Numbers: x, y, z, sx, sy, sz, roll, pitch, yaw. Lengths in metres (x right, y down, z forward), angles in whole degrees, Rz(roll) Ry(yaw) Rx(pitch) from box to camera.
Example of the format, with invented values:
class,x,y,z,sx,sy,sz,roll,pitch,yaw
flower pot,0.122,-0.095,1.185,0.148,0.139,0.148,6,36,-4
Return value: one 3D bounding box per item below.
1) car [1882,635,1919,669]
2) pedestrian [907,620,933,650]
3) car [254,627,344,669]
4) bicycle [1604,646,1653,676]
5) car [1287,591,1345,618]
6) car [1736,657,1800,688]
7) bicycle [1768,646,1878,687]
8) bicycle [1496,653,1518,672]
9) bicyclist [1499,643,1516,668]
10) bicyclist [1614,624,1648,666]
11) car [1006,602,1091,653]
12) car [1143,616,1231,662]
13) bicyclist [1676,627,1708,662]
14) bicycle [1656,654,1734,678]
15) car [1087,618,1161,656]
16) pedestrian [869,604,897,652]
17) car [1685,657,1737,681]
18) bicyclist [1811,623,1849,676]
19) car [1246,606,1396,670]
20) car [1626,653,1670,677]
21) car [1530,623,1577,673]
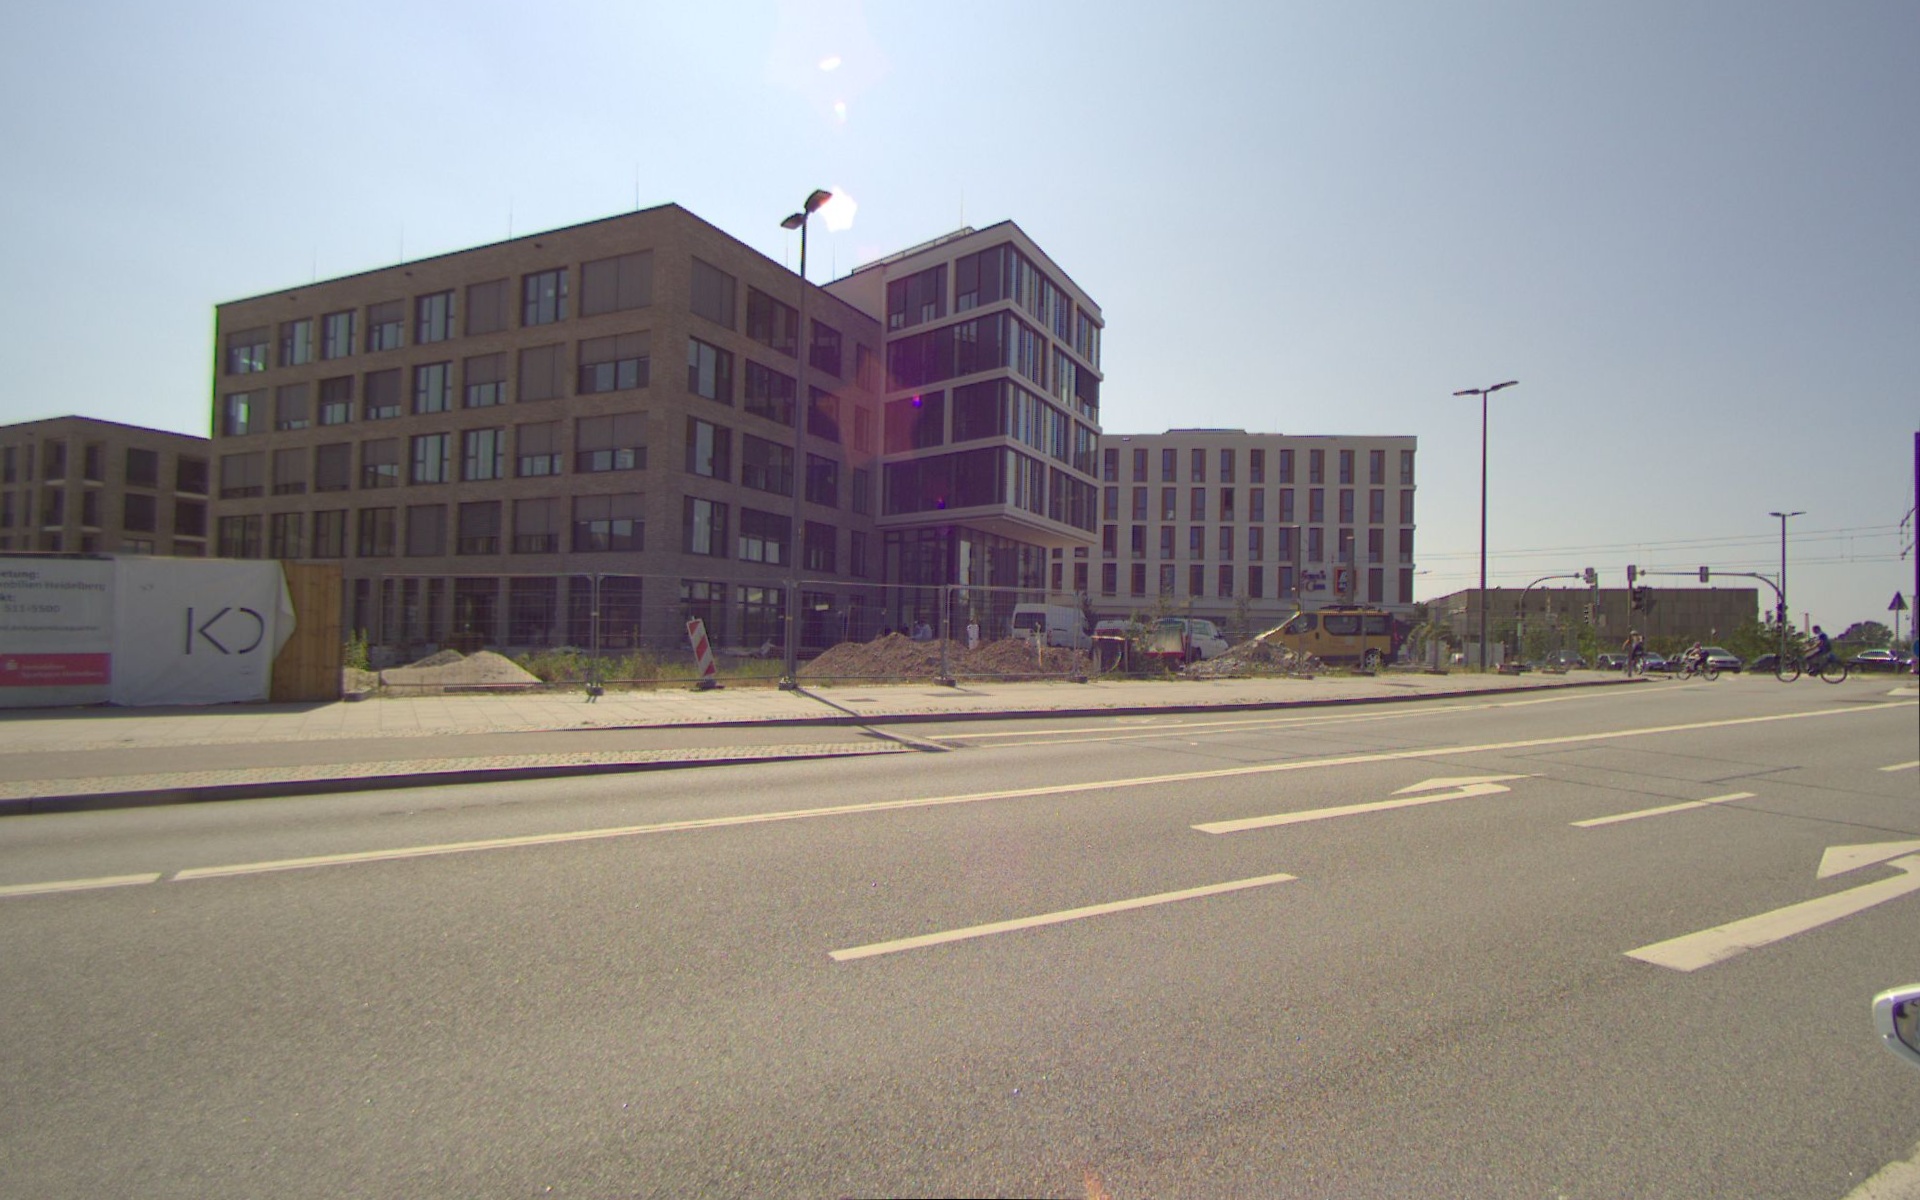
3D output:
class,x,y,z,sx,sy,sz,roll,pitch,yaw
car,48.689,2.656,50.256,1.765,1.662,3.517,2,0,-2
pedestrian,-1.982,1.725,49.390,1.099,1.391,0.742,2,0,-17
car,-30.418,2.164,46.226,3.708,1.675,1.834,2,0,26
bicycle,25.364,2.306,38.139,0.593,1.020,2.514,1,-1,10
car,29.021,0.327,81.989,1.986,2.040,3.949,2,0,-43
car,61.615,5.536,76.705,1.959,2.040,4.002,2,0,8
bicycle,26.954,2.077,31.439,2.495,1.148,0.725,-6,-5,39
bicycle,34.660,3.949,63.674,0.624,1.148,2.328,1,-1,14
bicyclist,34.681,3.490,63.598,0.808,1.524,0.721,2,0,18
bicyclist,25.357,1.698,37.985,0.826,1.522,0.659,2,0,10
car,4.015,1.220,44.768,2.175,2.083,4.164,2,0,30
car,9.596,1.614,42.184,1.969,1.730,4.546,2,0,35
bicyclist,25.664,1.566,35.219,0.722,1.191,0.654,2,0,-29
bicycle,25.679,2.288,35.140,0.509,0.701,2.239,2,-1,-25
car,7.183,1.599,43.799,1.773,1.528,3.991,2,0,31
pedestrian,-3.346,1.202,43.404,0.949,2.040,0.940,2,0,-17
car,44.702,4.104,59.824,2.446,1.257,1.274,1,-1,39
bicyclist,27.134,1.540,31.340,0.812,1.580,0.860,2,0,38
car,12.042,1.245,33.772,4.395,1.915,2.001,2,0,8
car,48.276,4.521,70.540,1.554,1.458,3.155,2,0,15
car,26.383,2.086,44.741,1.645,2.040,3.993,2,0,29
